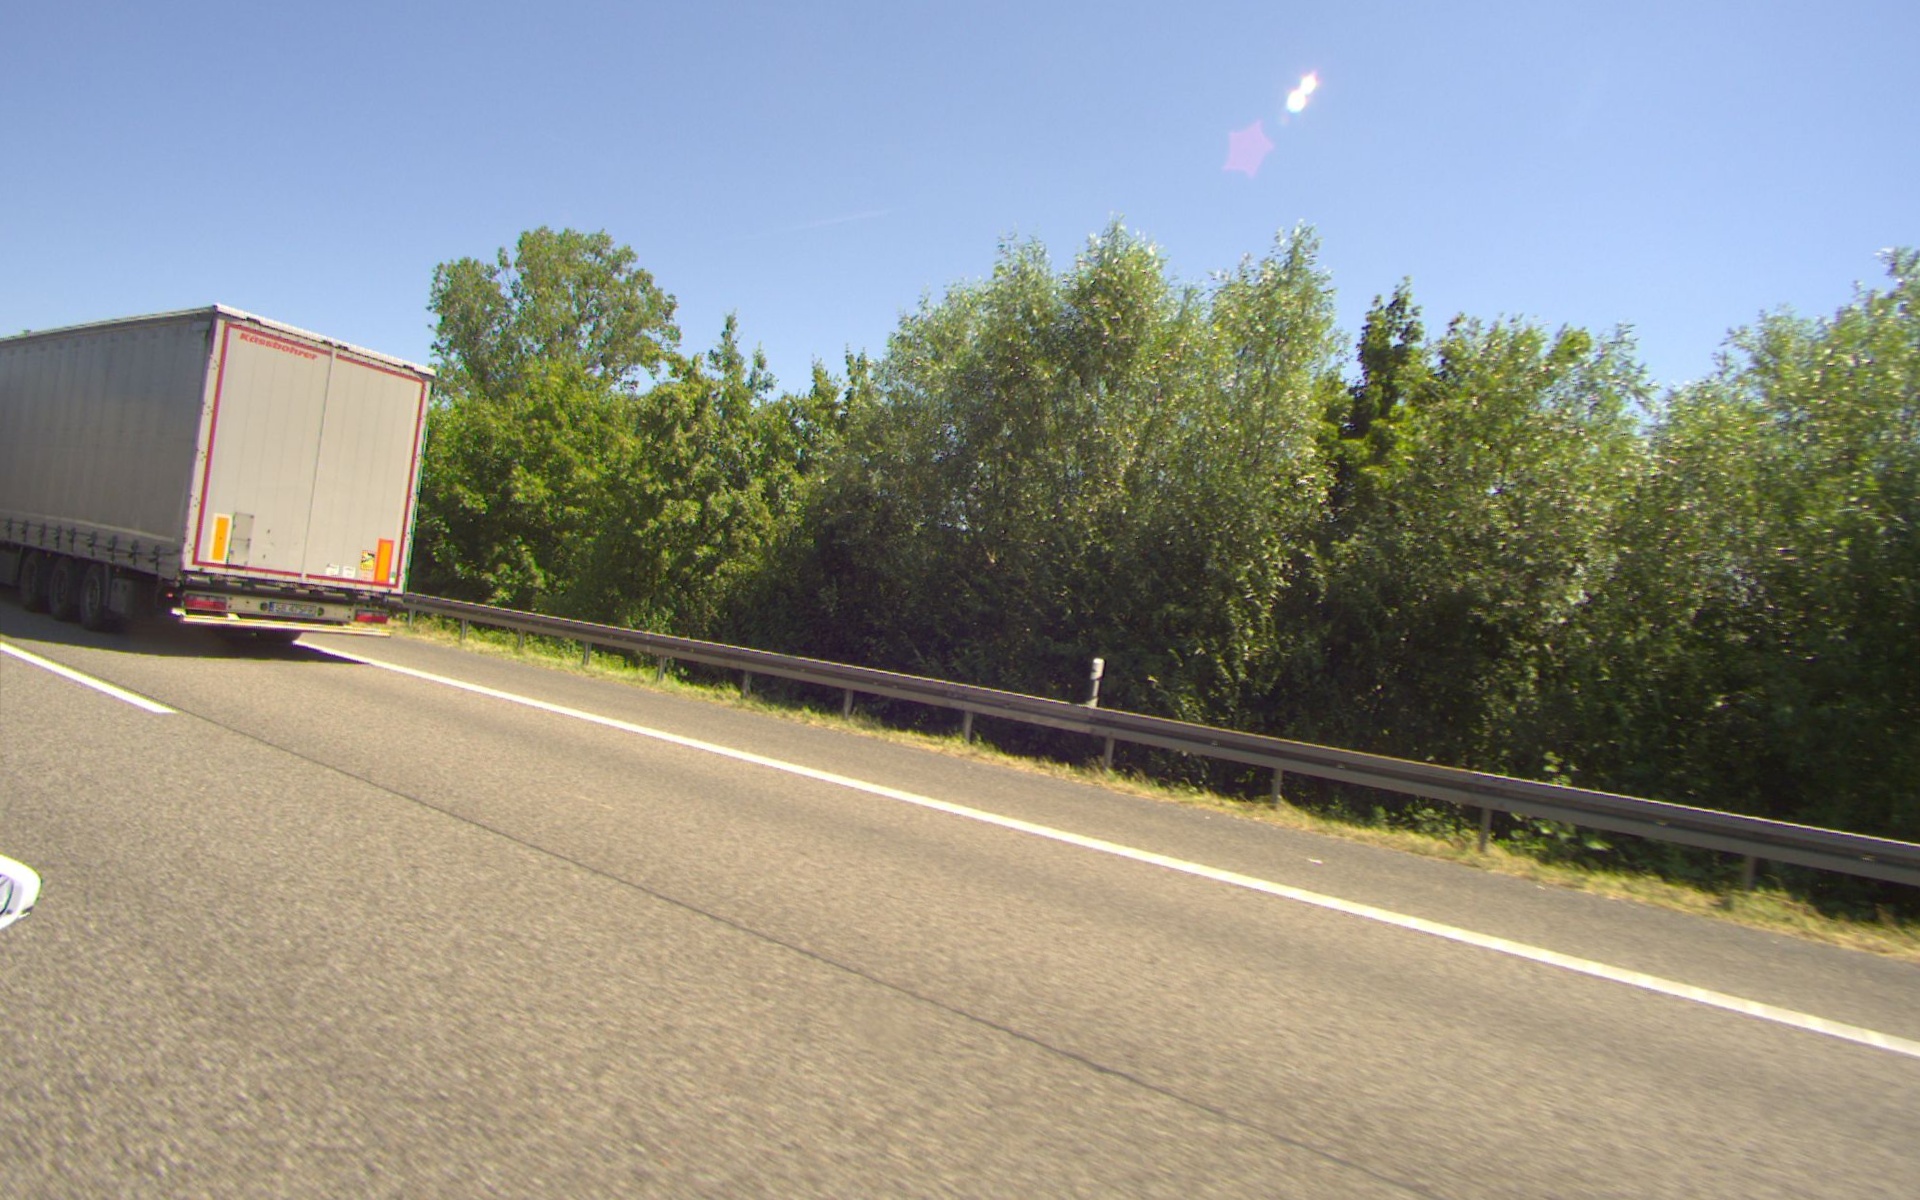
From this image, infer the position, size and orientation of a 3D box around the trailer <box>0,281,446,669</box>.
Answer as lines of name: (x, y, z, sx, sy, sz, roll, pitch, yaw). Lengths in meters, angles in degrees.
trailer: (-13.160, -1.872, 15.850, 12.999, 4.268, 2.705, 6, 0, 34)

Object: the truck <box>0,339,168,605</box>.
truck: (-18.725, -2.461, 19.572, 7.712, 4.268, 2.692, 6, 0, 34)
